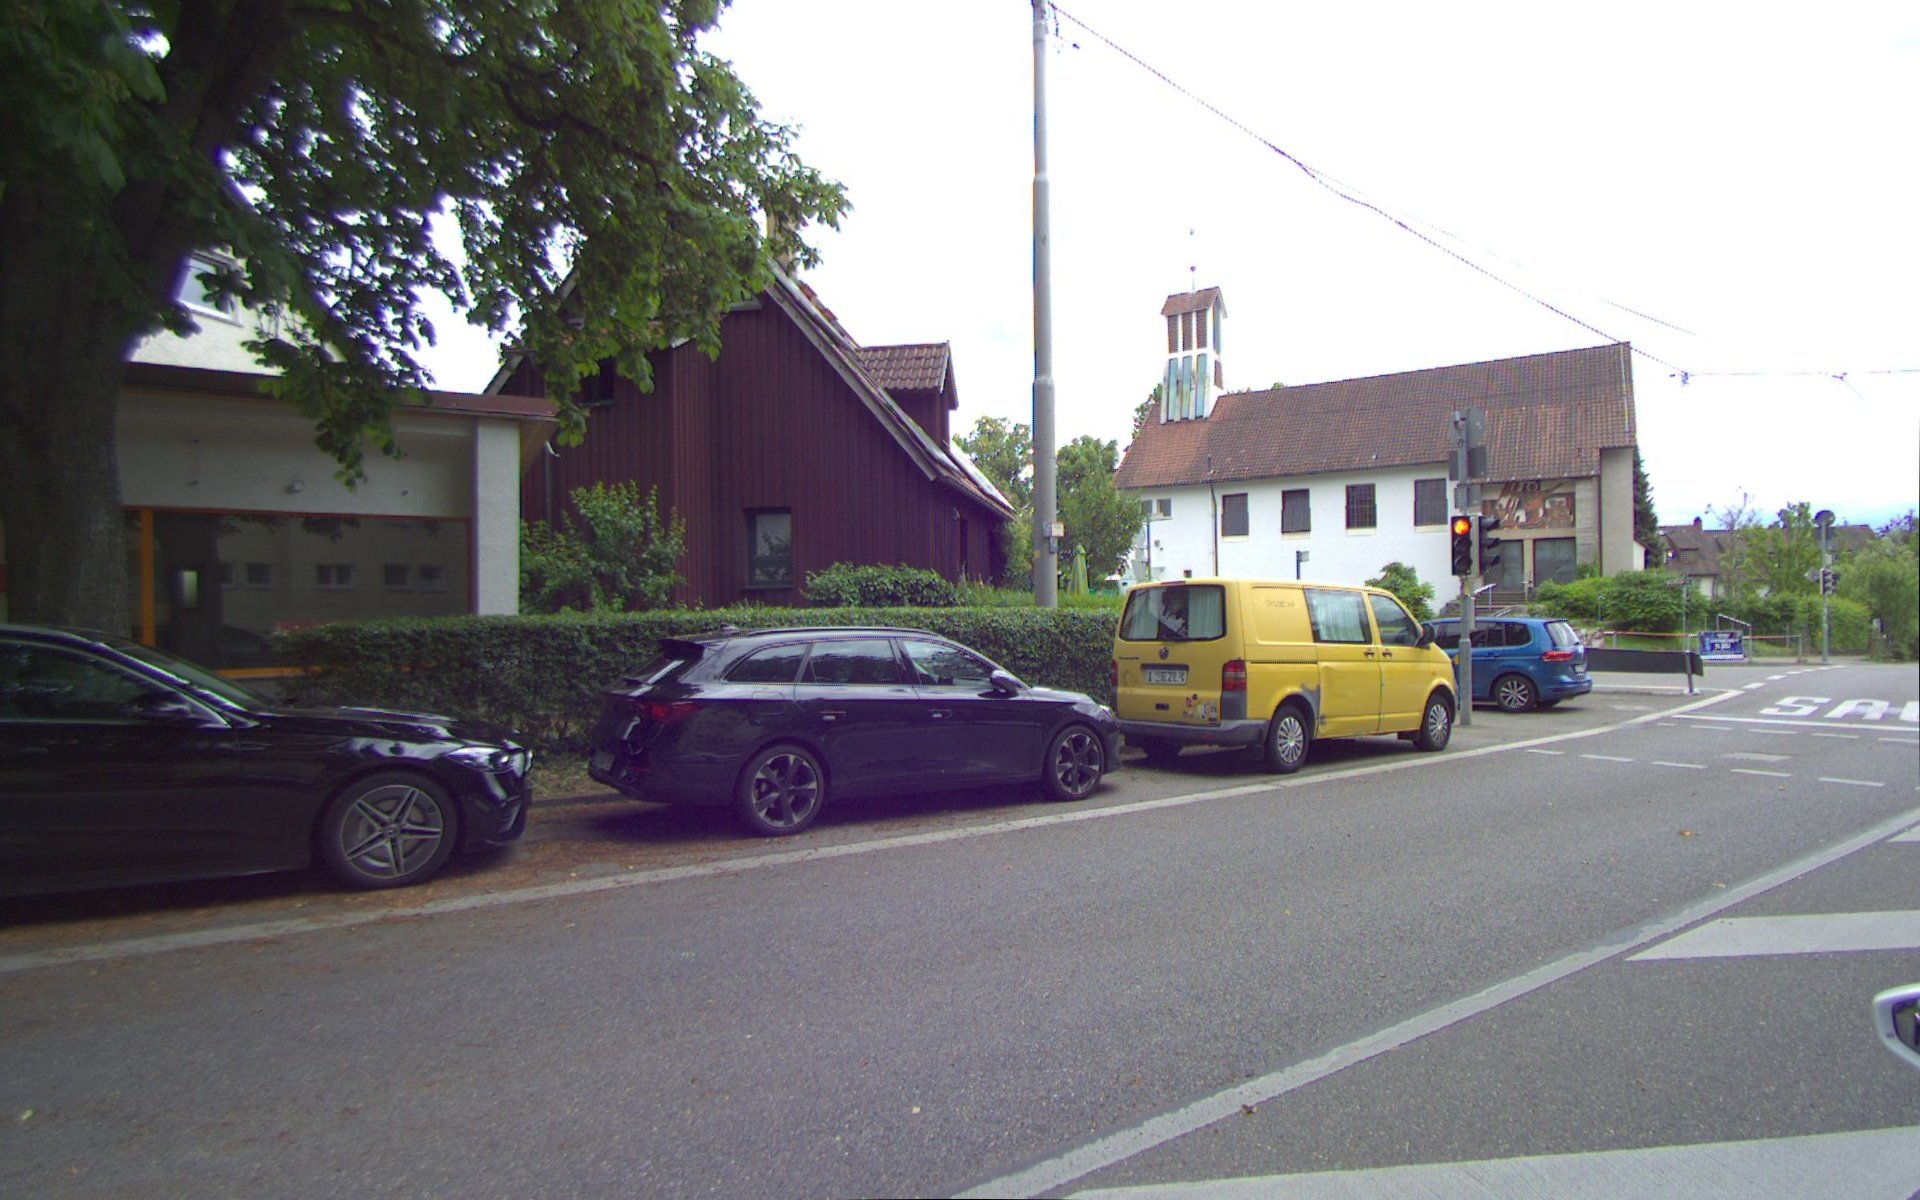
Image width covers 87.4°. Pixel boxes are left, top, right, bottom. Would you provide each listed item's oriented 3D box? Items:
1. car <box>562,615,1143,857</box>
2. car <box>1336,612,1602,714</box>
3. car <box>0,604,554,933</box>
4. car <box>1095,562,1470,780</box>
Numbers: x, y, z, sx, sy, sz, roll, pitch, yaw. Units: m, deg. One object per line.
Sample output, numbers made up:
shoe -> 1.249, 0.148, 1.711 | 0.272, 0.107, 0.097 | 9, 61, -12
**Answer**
car -> -0.722, 0.906, 8.229 | 4.495, 1.505, 1.681 | 1, -2, -34
car -> 9.139, 1.107, 18.238 | 1.806, 1.632, 3.948 | 1, -3, -45
car -> -4.833, 0.808, 5.565 | 4.561, 1.520, 1.984 | 1, -2, -31
car -> 3.816, 0.727, 11.533 | 4.524, 2.040, 1.870 | 1, -2, -37
